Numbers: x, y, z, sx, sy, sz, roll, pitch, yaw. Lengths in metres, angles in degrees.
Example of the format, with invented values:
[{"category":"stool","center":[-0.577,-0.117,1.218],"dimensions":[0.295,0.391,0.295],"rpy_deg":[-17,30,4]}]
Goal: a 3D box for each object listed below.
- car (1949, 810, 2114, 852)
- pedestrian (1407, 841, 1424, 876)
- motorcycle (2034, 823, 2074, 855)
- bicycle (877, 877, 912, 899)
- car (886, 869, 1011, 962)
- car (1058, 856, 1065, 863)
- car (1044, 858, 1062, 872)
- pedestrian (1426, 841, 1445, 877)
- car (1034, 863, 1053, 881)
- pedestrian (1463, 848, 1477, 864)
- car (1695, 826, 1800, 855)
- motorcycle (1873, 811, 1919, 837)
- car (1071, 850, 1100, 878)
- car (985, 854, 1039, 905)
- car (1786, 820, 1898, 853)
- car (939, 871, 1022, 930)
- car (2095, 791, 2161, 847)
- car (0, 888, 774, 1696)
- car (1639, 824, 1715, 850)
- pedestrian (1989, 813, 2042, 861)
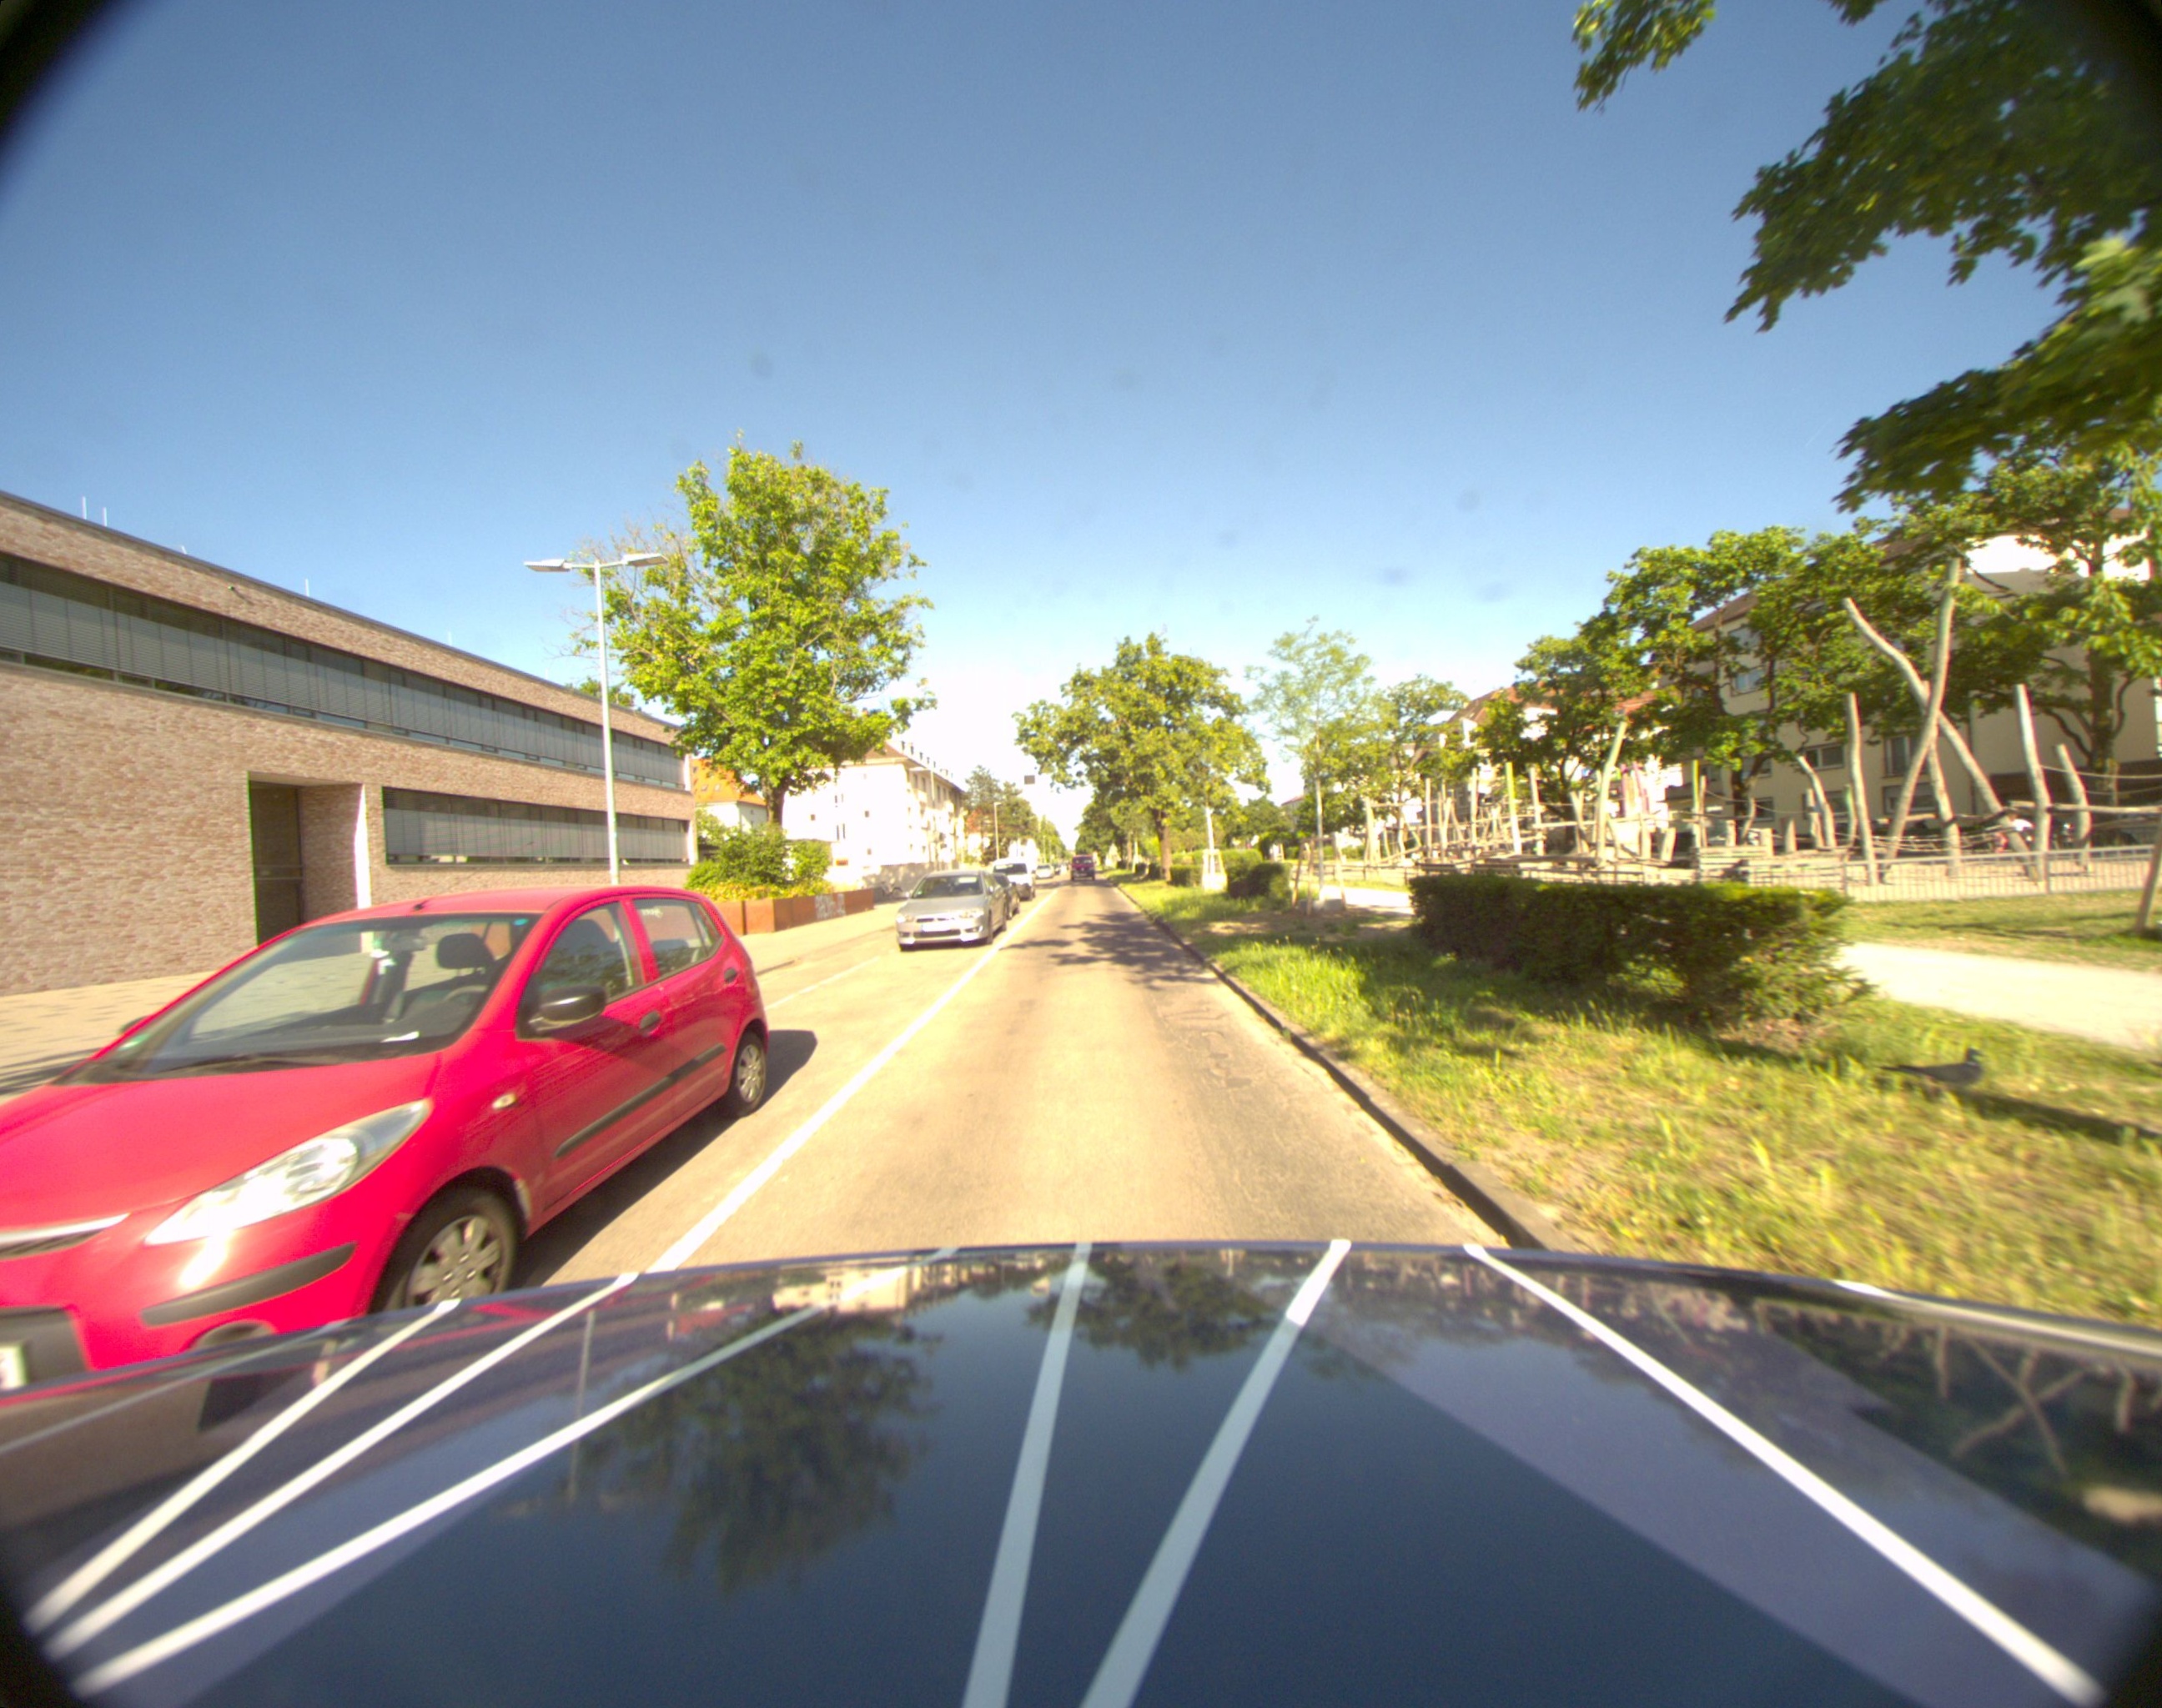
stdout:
[{"category":"car","center":[39.321,-0.885,31.596],"dimensions":[1.799,1.501,4.000],"rpy_deg":[-4,0,1]},{"category":"pedestrian","center":[16.494,0.225,37.473],"dimensions":[0.649,1.651,0.651],"rpy_deg":[-4,0,19]},{"category":"motorcycle","center":[27.090,-0.413,21.152],"dimensions":[0.703,0.822,0.284],"rpy_deg":[-4,0,-1]},{"category":"bicycle","center":[-9.878,1.812,40.307],"dimensions":[1.673,1.023,0.500],"rpy_deg":[-5,0,-2]},{"category":"car","center":[-2.574,1.148,15.768],"dimensions":[1.705,1.469,4.173],"rpy_deg":[-4,0,1]},{"category":"car","center":[-5.139,1.440,202.218],"dimensions":[1.799,1.529,4.001],"rpy_deg":[-4,-1,0]},{"category":"car","center":[-3.287,1.276,89.923],"dimensions":[1.799,1.501,3.995],"rpy_deg":[-5,0,0]},{"category":"pedestrian","center":[16.741,0.236,35.895],"dimensions":[0.649,1.651,0.651],"rpy_deg":[-4,0,19]},{"category":"car","center":[-3.669,1.724,73.654],"dimensions":[1.664,1.456,4.410],"rpy_deg":[-5,0,-4]},{"category":"pedestrian","center":[24.434,0.111,47.716],"dimensions":[0.542,0.973,0.778],"rpy_deg":[-4,0,8]},{"category":"car","center":[39.481,-0.755,45.195],"dimensions":[1.911,1.501,4.764],"rpy_deg":[-4,0,-1]},{"category":"motorcycle","center":[39.338,-1.442,36.676],"dimensions":[1.800,1.101,0.500],"rpy_deg":[-3,1,-7]},{"category":"car","center":[0.380,0.759,59.264],"dimensions":[2.092,2.000,4.844],"rpy_deg":[-3,0,0]},{"category":"car","center":[-2.846,1.018,32.317],"dimensions":[1.812,1.897,4.461],"rpy_deg":[-4,0,-1]},{"category":"car","center":[39.589,-0.889,39.660],"dimensions":[1.799,1.501,4.000],"rpy_deg":[-4,0,1]},{"category":"car","center":[-2.738,1.244,21.546],"dimensions":[1.706,1.317,4.129],"rpy_deg":[-4,0,0]},{"category":"car","center":[39.272,-1.300,26.299],"dimensions":[1.799,1.971,4.835],"rpy_deg":[-4,0,1]},{"category":"car","center":[-2.916,1.053,3.391],"dimensions":[1.624,1.579,3.591],"rpy_deg":[-4,0,-2]},{"category":"car","center":[39.549,-1.098,50.541],"dimensions":[1.799,1.545,4.000],"rpy_deg":[-4,0,0]},{"category":"pedestrian","center":[26.916,-0.475,21.896],"dimensions":[0.650,1.310,0.650],"rpy_deg":[-4,0,-3]}]
